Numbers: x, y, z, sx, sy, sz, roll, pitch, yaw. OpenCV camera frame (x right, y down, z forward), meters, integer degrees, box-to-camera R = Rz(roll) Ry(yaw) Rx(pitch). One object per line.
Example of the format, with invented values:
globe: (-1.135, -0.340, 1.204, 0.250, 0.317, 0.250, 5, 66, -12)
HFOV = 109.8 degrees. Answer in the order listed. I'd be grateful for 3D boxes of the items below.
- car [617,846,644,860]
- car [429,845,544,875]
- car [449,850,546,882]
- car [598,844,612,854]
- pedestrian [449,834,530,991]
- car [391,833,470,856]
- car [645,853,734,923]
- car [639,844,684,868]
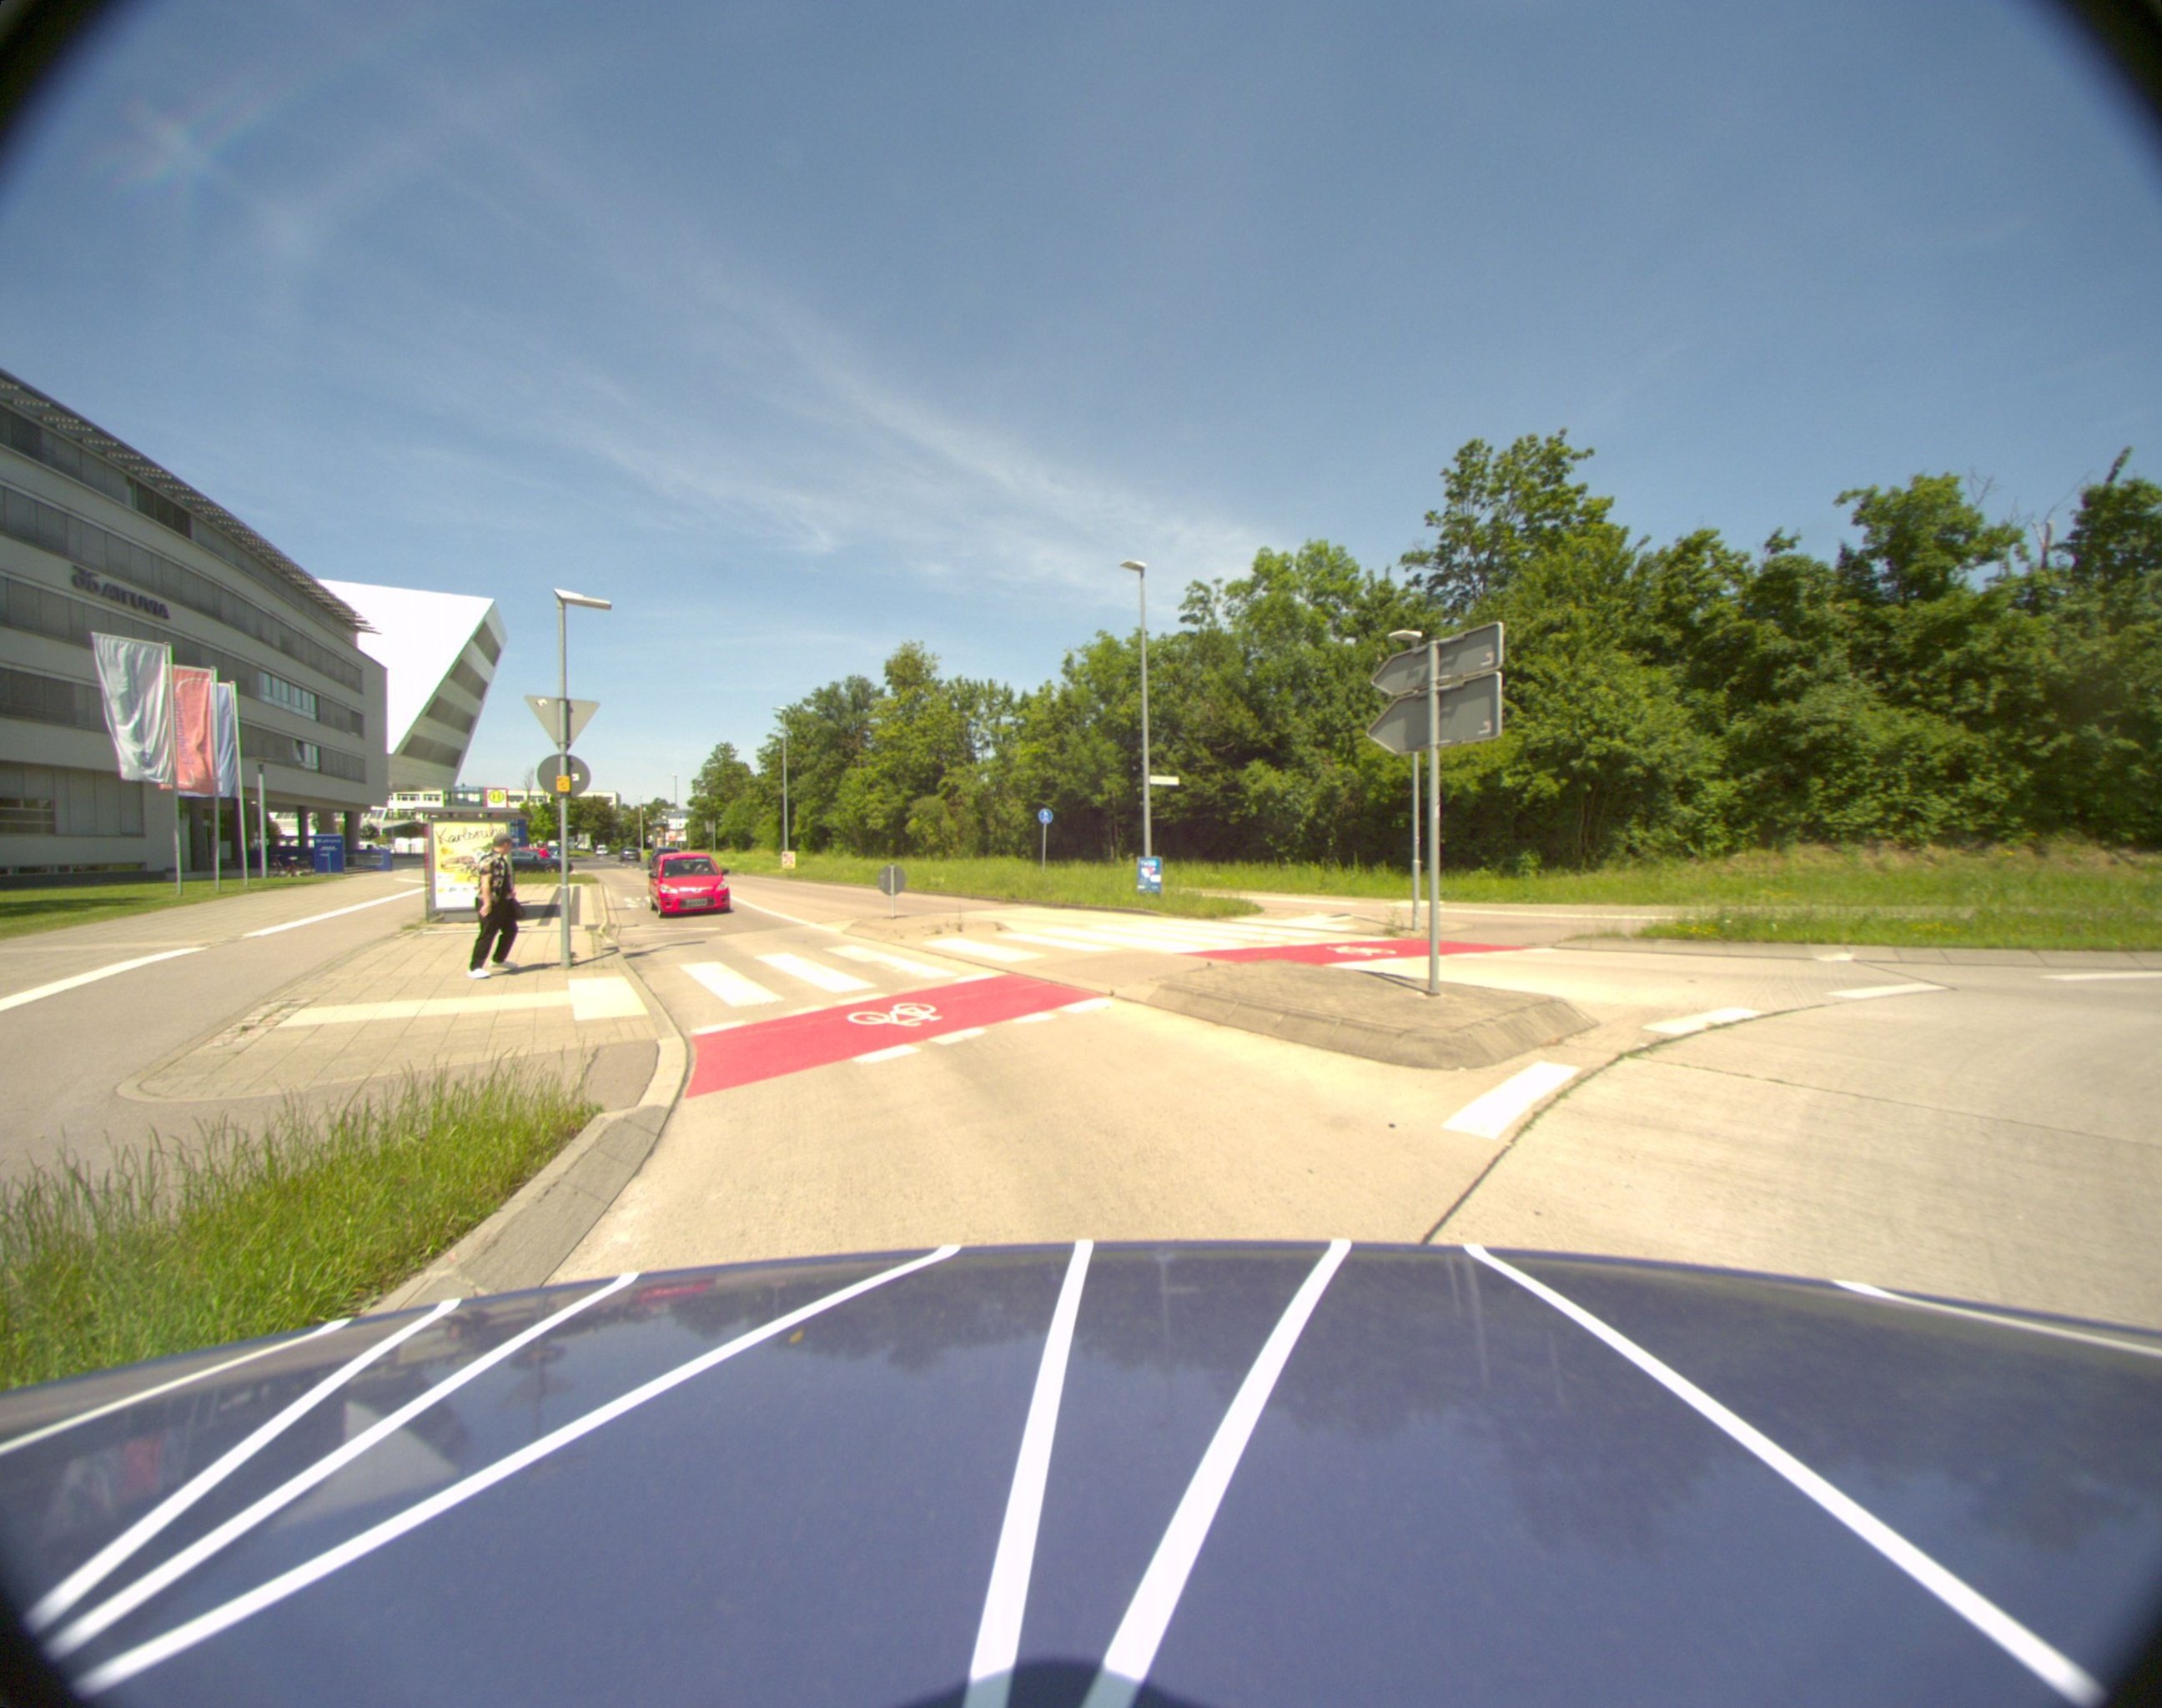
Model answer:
car: (-45.879, -0.097, 77.289, 2.004, 1.470, 4.277, 0, 0, -35)
car: (-30.622, 0.307, 39.300, 4.591, 1.423, 1.822, 1, 1, -36)
car: (-31.841, 0.619, 41.606, 4.007, 1.646, 1.834, -1, 2, -32)
car: (-81.099, -0.810, 129.450, 2.003, 1.622, 3.989, -3, 3, -33)
pedestrian: (-7.191, 0.671, 9.270, 0.711, 1.812, 0.824, 1, 1, -34)
car: (-80.274, -1.240, 93.951, 6.979, 2.648, 2.249, -2, 3, -26)
car: (-10.075, 0.793, 19.448, 1.666, 1.495, 3.348, -3, 3, -32)
car: (-29.117, 0.163, 52.655, 2.004, 1.586, 4.311, -1, 0, -38)
